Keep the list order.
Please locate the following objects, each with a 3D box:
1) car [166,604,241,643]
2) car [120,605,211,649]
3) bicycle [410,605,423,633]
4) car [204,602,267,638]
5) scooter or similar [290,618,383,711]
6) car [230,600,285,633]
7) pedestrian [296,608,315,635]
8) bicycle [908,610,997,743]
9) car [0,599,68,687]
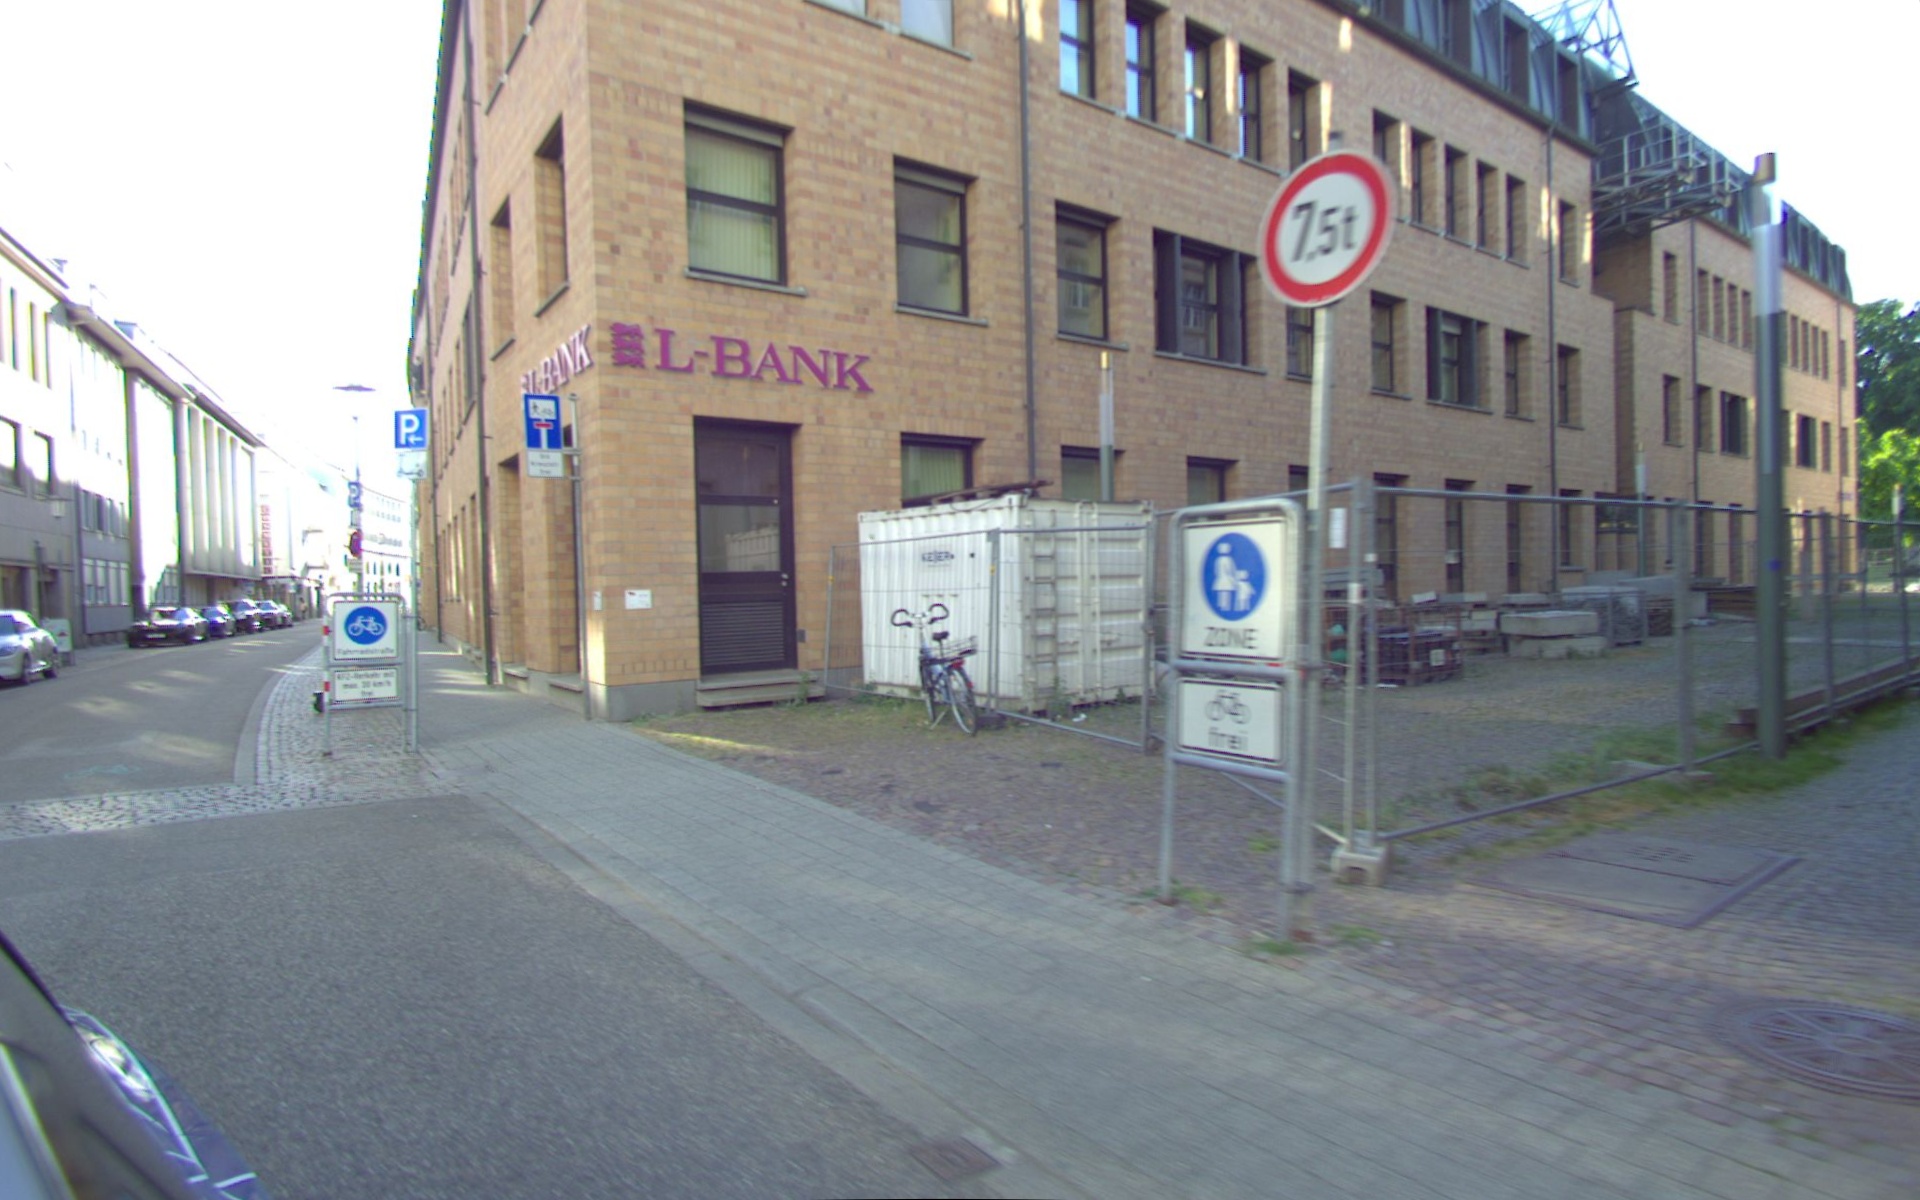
[{"bbox_3d":[-32.551,0.969,43.647,1.933,1.418,4.210,-3,2,-28],"label":"car"},{"bbox_3d":[-29.559,0.949,37.780,1.933,1.418,4.210,-3,2,-28],"label":"car"},{"bbox_3d":[-23.611,0.811,43.947,0.424,1.152,1.695,-2,1,-27],"label":"bicycle"},{"bbox_3d":[-35.138,0.945,49.181,1.933,1.547,4.210,-3,2,-28],"label":"car"},{"bbox_3d":[-8.660,0.872,14.110,0.462,1.234,1.299,-1,-1,2],"label":"scooter or similar"},{"bbox_3d":[-38.501,0.869,55.532,1.933,1.658,4.210,-3,2,-28],"label":"car"},{"bbox_3d":[-50.035,1.639,77.376,0.899,2.028,0.932,-1,1,41],"label":"pedestrian"},{"bbox_3d":[-0.106,0.697,9.903,0.424,1.152,1.596,-2,1,-16],"label":"bicycle"},{"bbox_3d":[-19.214,0.875,19.885,1.748,1.595,3.868,-7,3,-31],"label":"car"}]
